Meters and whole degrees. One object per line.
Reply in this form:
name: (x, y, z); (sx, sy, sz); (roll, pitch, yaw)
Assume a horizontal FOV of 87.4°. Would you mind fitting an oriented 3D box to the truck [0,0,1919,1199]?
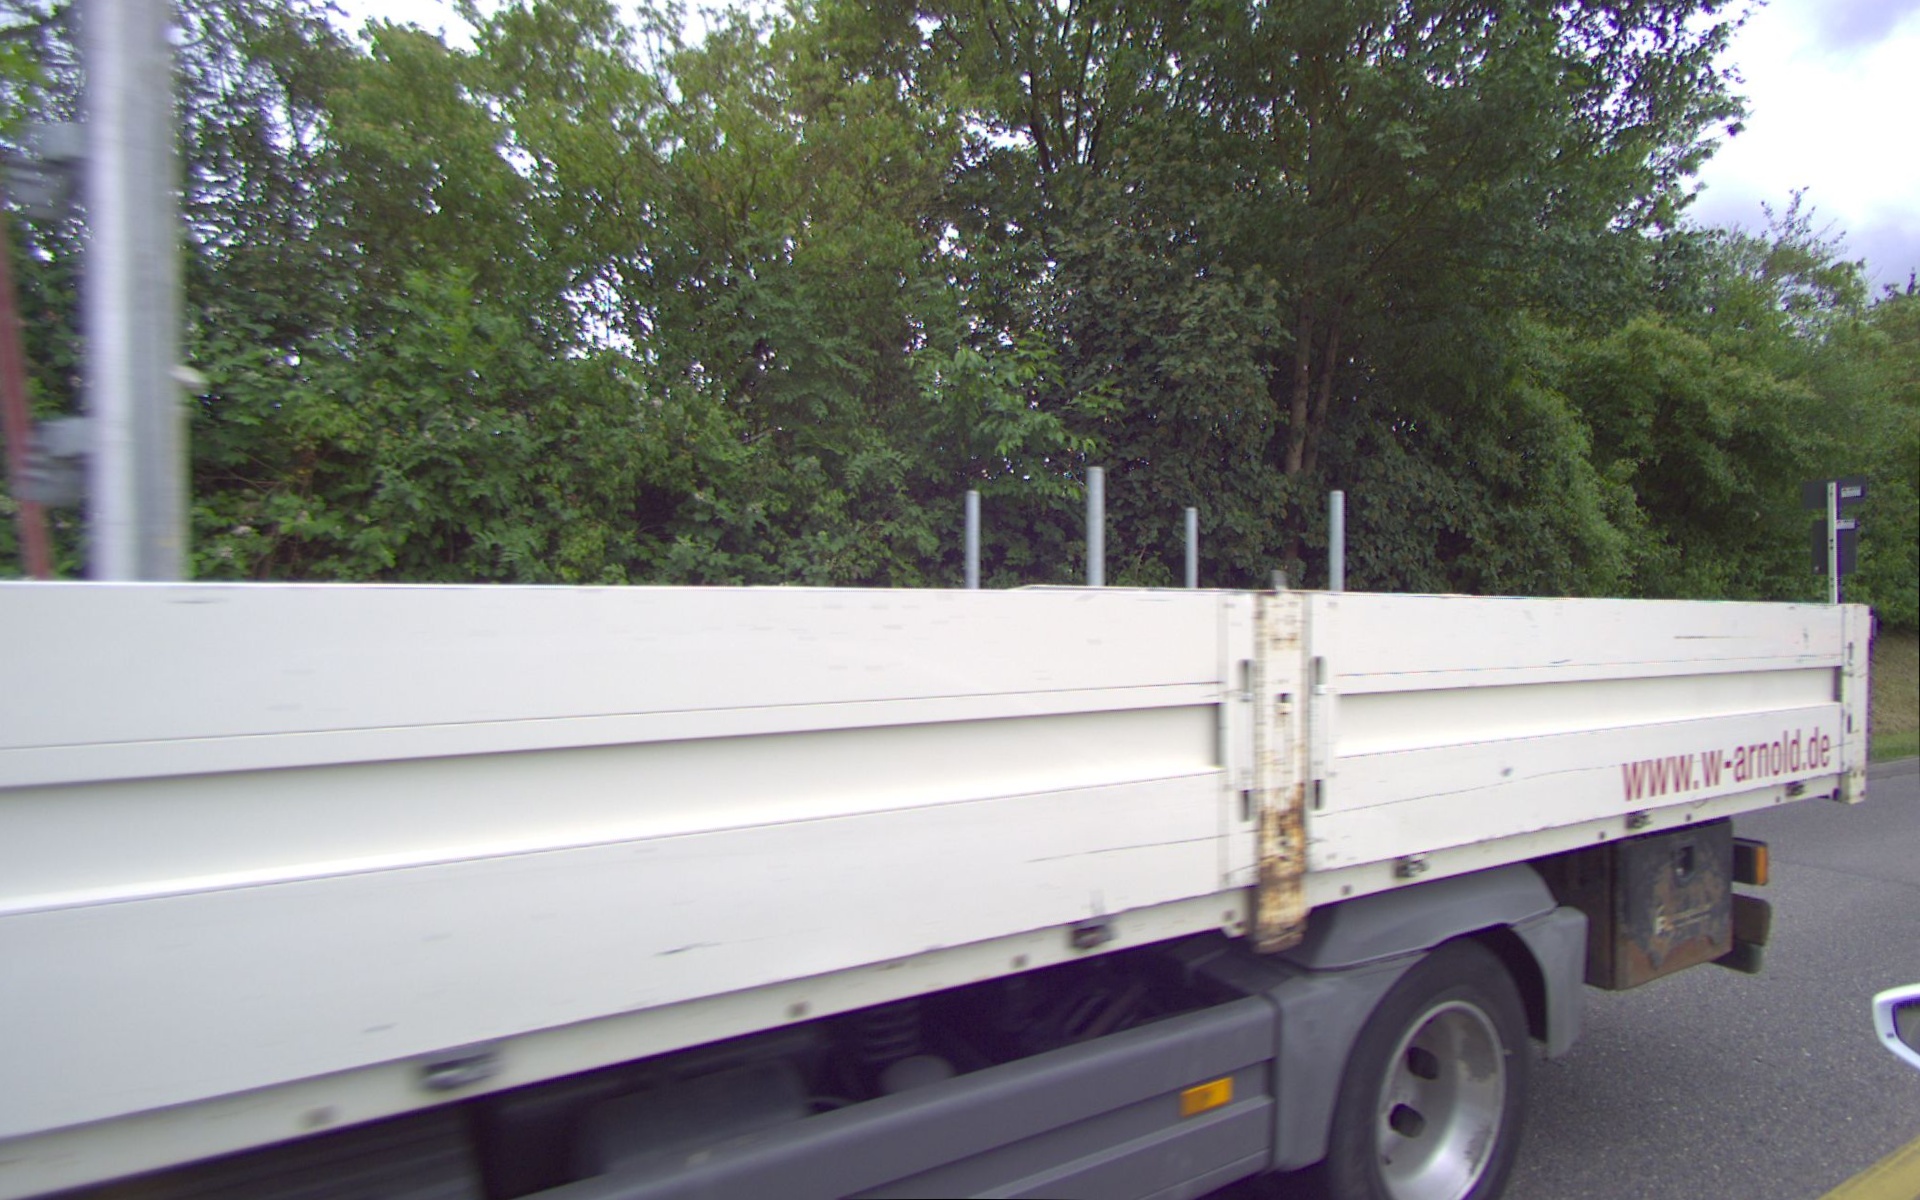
truck: (-0.984, -0.315, 2.176); (7.520, 3.301, 2.739); (2, 0, -30)
